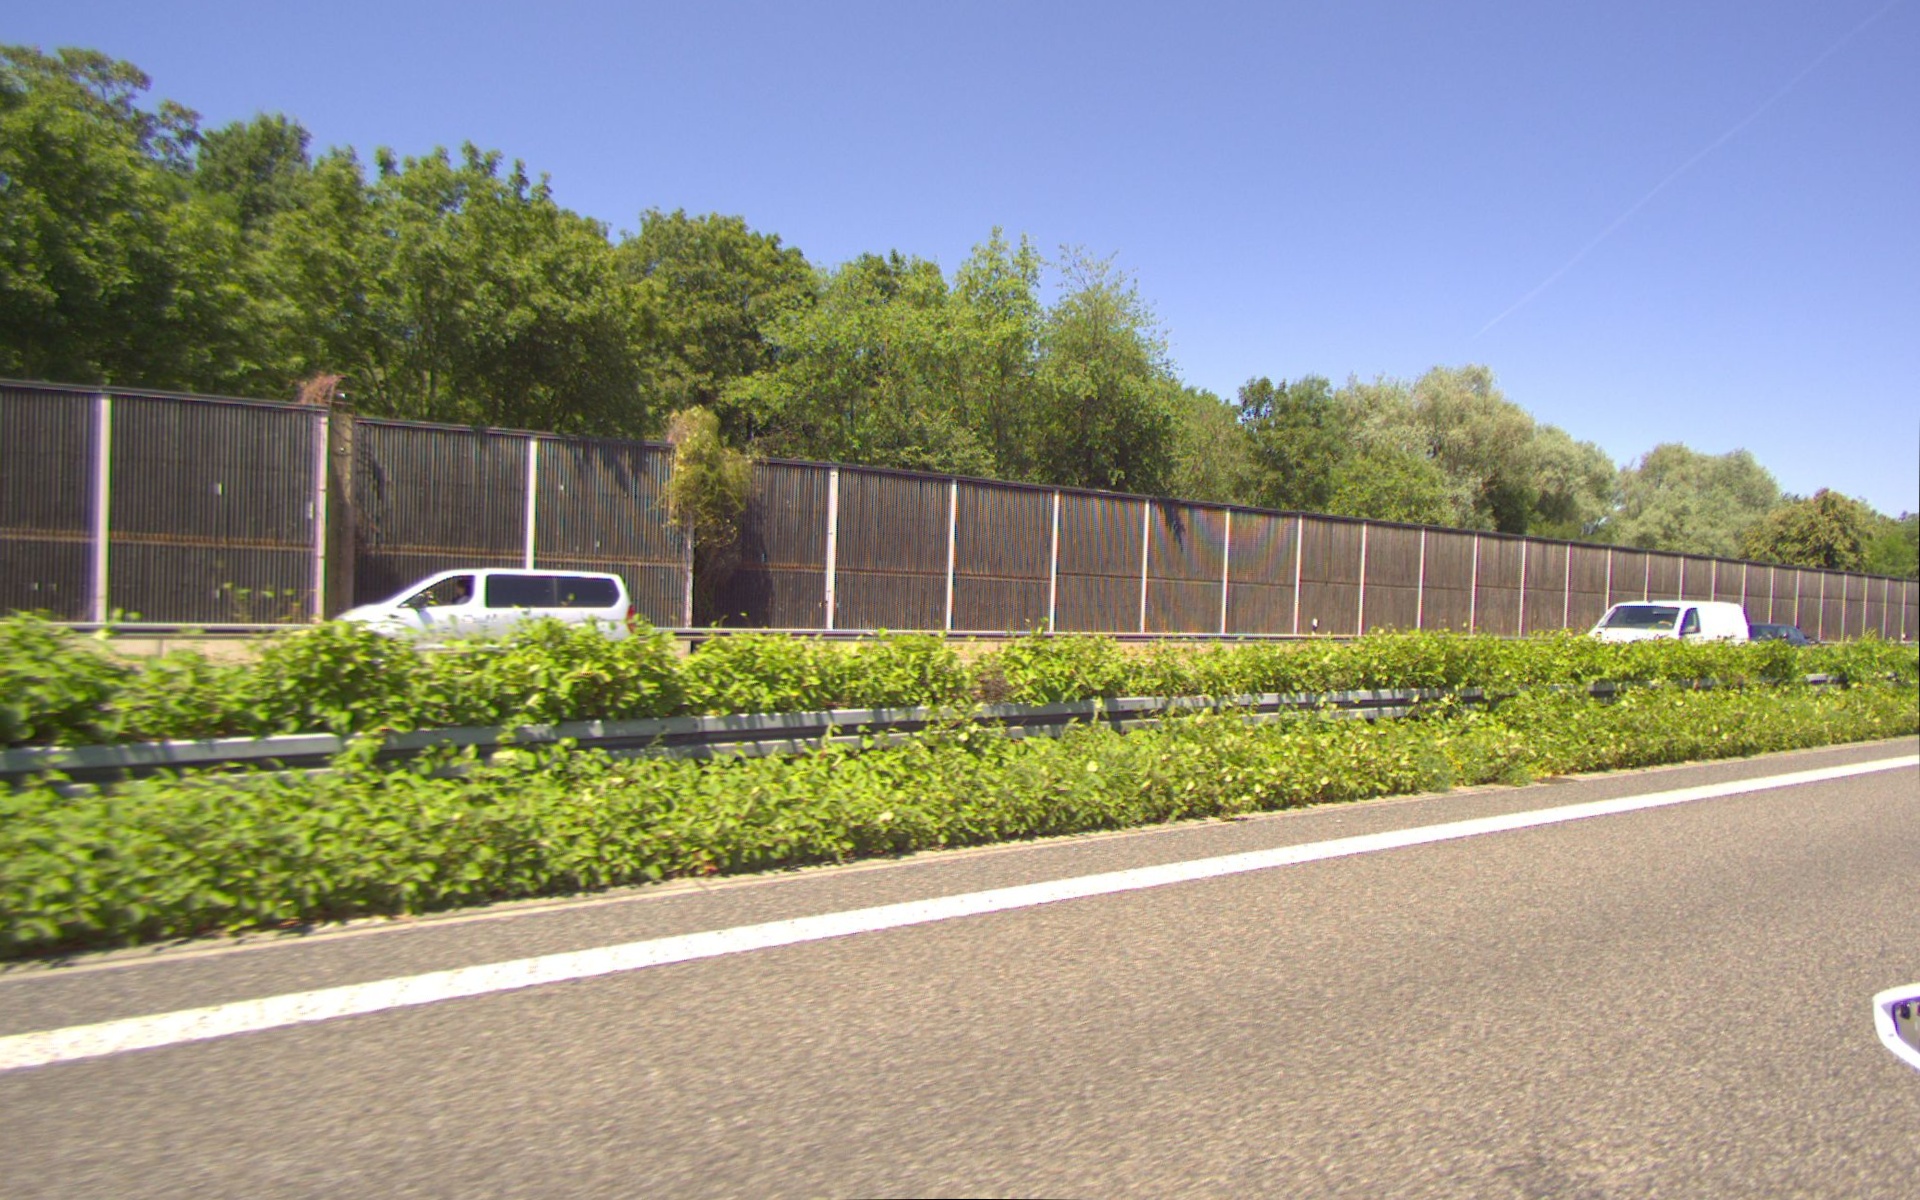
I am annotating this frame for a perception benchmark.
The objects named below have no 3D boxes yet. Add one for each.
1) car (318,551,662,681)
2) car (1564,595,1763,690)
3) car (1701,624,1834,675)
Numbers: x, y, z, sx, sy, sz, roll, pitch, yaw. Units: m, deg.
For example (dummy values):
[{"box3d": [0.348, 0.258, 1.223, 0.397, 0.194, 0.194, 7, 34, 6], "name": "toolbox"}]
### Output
[{"box3d": [-8.303, 0.312, 18.057, 5.322, 2.040, 1.984, 2, 0, -30], "name": "car"}, {"box3d": [16.835, 0.978, 23.958, 5.287, 2.040, 1.983, 2, 0, -32], "name": "car"}, {"box3d": [28.693, 1.730, 35.652, 5.524, 1.665, 1.983, 2, 0, -32], "name": "car"}]
